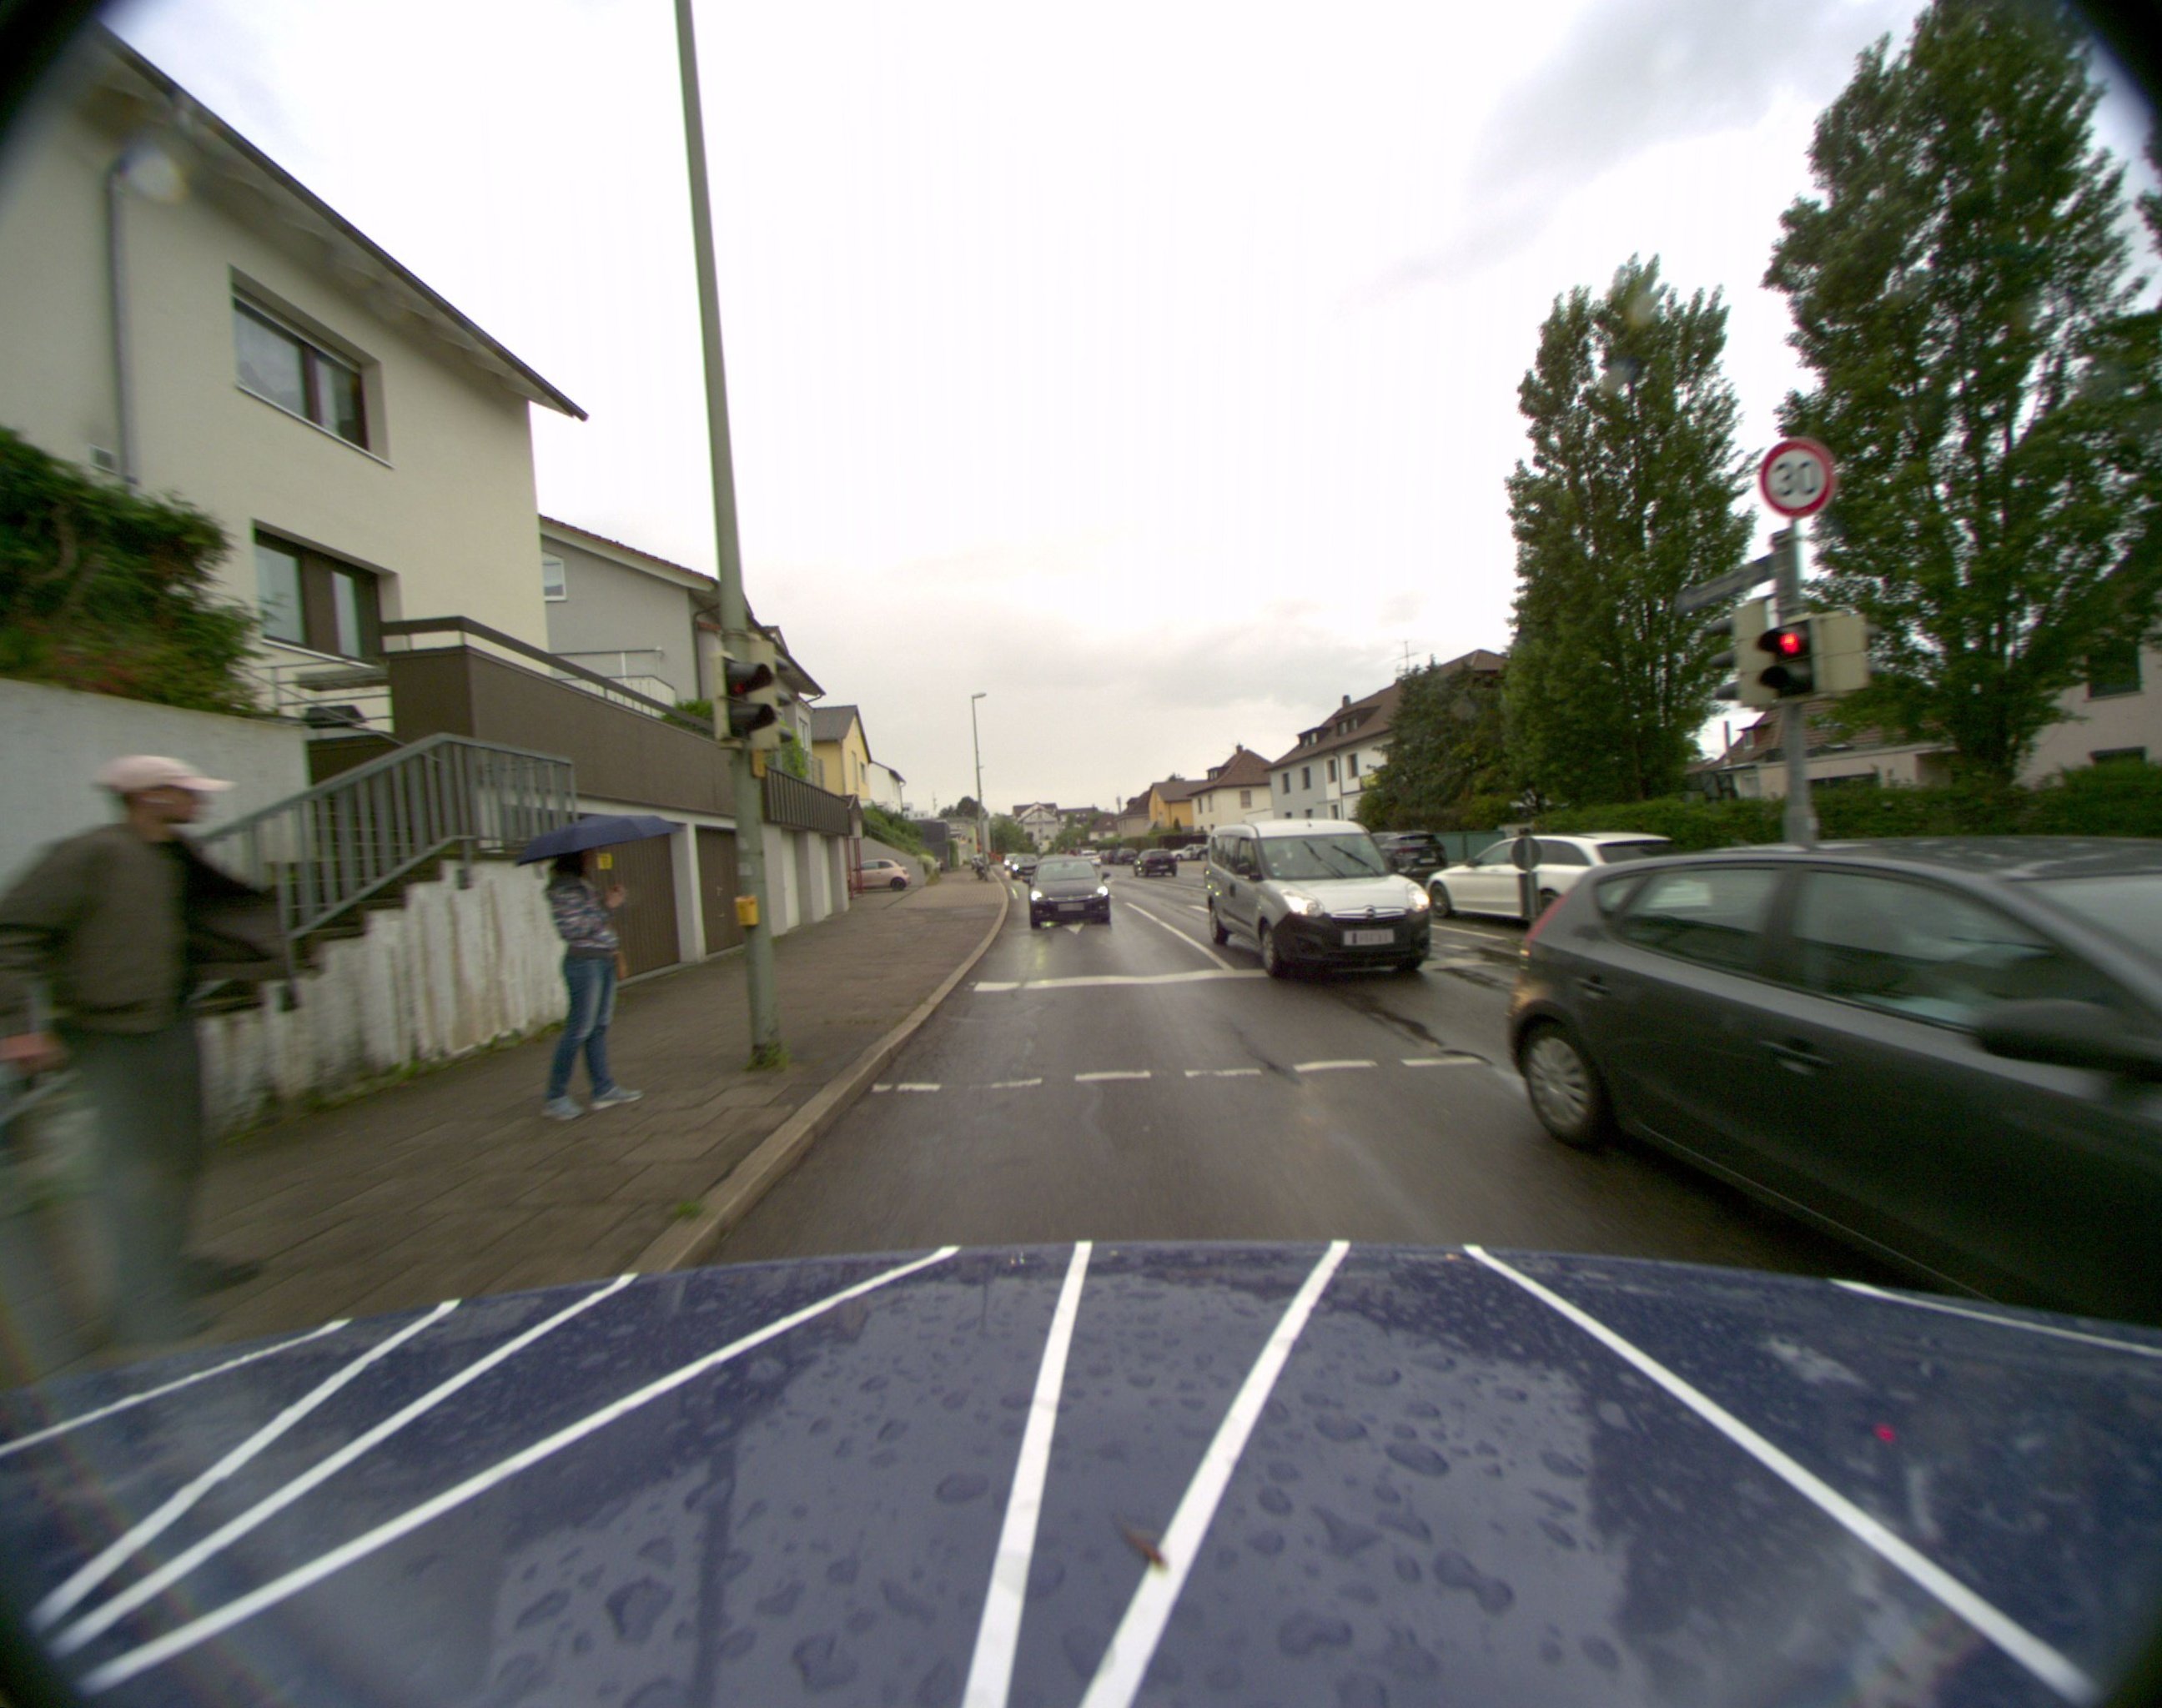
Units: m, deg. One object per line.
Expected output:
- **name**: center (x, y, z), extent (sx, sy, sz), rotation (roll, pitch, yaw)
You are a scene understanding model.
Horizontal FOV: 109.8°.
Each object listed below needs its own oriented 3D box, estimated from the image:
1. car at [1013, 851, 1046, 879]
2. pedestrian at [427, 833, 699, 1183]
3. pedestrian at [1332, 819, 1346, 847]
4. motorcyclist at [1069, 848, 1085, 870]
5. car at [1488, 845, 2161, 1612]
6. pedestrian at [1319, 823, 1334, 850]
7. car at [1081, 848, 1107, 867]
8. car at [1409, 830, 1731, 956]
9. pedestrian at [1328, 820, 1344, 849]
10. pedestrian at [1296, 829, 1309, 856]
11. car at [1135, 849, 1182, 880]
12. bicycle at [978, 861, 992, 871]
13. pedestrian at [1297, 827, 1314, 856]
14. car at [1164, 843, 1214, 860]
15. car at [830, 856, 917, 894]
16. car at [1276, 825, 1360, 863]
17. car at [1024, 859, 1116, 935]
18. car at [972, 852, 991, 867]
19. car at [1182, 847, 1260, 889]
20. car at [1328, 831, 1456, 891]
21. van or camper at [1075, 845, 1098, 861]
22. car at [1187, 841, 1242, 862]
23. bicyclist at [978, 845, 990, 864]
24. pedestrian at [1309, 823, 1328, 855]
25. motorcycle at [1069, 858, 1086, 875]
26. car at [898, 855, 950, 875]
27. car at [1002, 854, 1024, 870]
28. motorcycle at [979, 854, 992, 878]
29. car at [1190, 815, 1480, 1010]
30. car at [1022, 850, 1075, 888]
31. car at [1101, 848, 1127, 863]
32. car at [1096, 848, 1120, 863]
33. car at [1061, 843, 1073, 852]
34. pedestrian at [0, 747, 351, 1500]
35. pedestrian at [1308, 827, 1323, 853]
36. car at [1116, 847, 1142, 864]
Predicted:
- **car**: center (-3.263, 0.695, 47.218), extent (1.841, 1.448, 4.000), rotation (-3, -3, -6)
- **pedestrian**: center (-2.885, 0.783, 4.370), extent (0.795, 1.770, 1.011), rotation (-2, 1, 0)
- **pedestrian**: center (15.860, -1.308, 46.757), extent (0.517, 1.661, 0.512), rotation (-6, 1, -1)
- **motorcyclist**: center (-0.305, 0.330, 52.348), extent (0.953, 1.413, 0.992), rotation (-3, 1, -4)
- **car**: center (3.092, 0.760, 1.985), extent (1.839, 1.478, 4.058), rotation (-3, 1, 0)
- **pedestrian**: center (15.681, -1.131, 48.512), extent (0.584, 1.661, 0.575), rotation (-7, 1, -8)
- **car**: center (1.105, 0.289, 66.592), extent (1.838, 1.521, 3.997), rotation (-2, 1, -6)
- **car**: center (7.354, 0.472, 12.187), extent (1.841, 1.547, 4.768), rotation (-2, 1, -4)
- **pedestrian**: center (15.362, -1.158, 45.716), extent (0.674, 1.661, 0.691), rotation (-6, 2, 24)
- **pedestrian**: center (14.859, -0.765, 50.880), extent (0.447, 1.743, 0.689), rotation (-7, 1, -5)
- **car**: center (4.123, 0.540, 41.000), extent (1.717, 1.494, 3.998), rotation (-3, 1, -5)
- **bicycle**: center (-8.493, 1.025, 67.257), extent (0.733, 0.821, 2.234), rotation (-2, 1, 4)
- **pedestrian**: center (13.963, -0.780, 47.284), extent (0.670, 1.778, 0.539), rotation (-7, 1, -2)
- **car**: center (9.745, -0.235, 68.751), extent (4.114, 1.475, 1.838), rotation (1, -1, -13)
- **car**: center (-9.480, 0.937, 34.961), extent (3.644, 1.476, 1.811), rotation (-3, 1, -11)
- **car**: center (13.387, -0.538, 43.055), extent (3.998, 1.555, 1.872), rotation (-8, 0, -5)
- **car**: center (-0.236, 0.901, 17.626), extent (1.840, 1.390, 3.999), rotation (-2, 1, 0)
- **car**: center (-10.473, 0.593, 80.238), extent (1.738, 1.481, 3.998), rotation (-2, 1, -6)
- **car**: center (5.419, 0.529, 29.981), extent (1.859, 1.455, 3.997), rotation (-3, 0, -7)
- **car**: center (9.829, 0.174, 24.427), extent (1.810, 1.660, 4.595), rotation (-3, 1, -6)
- **van or camper**: center (0.706, -0.164, 97.535), extent (2.191, 2.002, 5.130), rotation (-3, 1, -7)
- **car**: center (11.031, -0.207, 62.938), extent (4.111, 1.412, 1.883), rotation (-5, 1, -6)
- **bicyclist**: center (-8.559, 0.081, 67.036), extent (0.809, 1.633, 0.906), rotation (-2, 1, 3)
- **pedestrian**: center (14.592, -0.907, 46.710), extent (0.734, 1.856, 0.686), rotation (-6, 1, -1)
- **motorcycle**: center (-0.270, 0.845, 52.284), extent (0.944, 1.101, 2.405), rotation (-3, 1, -4)
- **car**: center (-12.542, 0.894, 60.702), extent (4.001, 1.395, 1.672), rotation (-2, 1, -13)
- **car**: center (-6.692, 0.795, 74.560), extent (1.842, 1.472, 3.998), rotation (-2, -1, -9)
- **motorcycle**: center (-5.715, 0.700, 45.550), extent (0.694, 1.317, 2.477), rotation (-2, 1, -7)
- **car**: center (2.884, 0.563, 9.938), extent (1.956, 1.860, 4.744), rotation (-2, 1, -3)
- **car**: center (-1.477, 0.673, 32.293), extent (1.911, 1.389, 4.855), rotation (-3, -1, -6)
- **car**: center (3.371, 0.135, 77.645), extent (1.810, 1.407, 3.996), rotation (-2, 1, -9)
- **car**: center (2.898, 0.127, 82.900), extent (1.810, 1.505, 3.996), rotation (-2, 1, -9)
- **car**: center (-2.835, -1.331, 152.878), extent (1.999, 1.565, 3.997), rotation (-3, 1, -6)
- **pedestrian**: center (-3.113, 0.736, 2.378), extent (0.799, 2.002, 0.734), rotation (-3, 1, 0)
- **pedestrian**: center (15.508, -0.912, 50.254), extent (0.588, 1.698, 0.561), rotation (-7, 1, -8)
- **car**: center (4.469, 0.129, 71.619), extent (1.810, 1.407, 3.998), rotation (-2, 1, -6)
